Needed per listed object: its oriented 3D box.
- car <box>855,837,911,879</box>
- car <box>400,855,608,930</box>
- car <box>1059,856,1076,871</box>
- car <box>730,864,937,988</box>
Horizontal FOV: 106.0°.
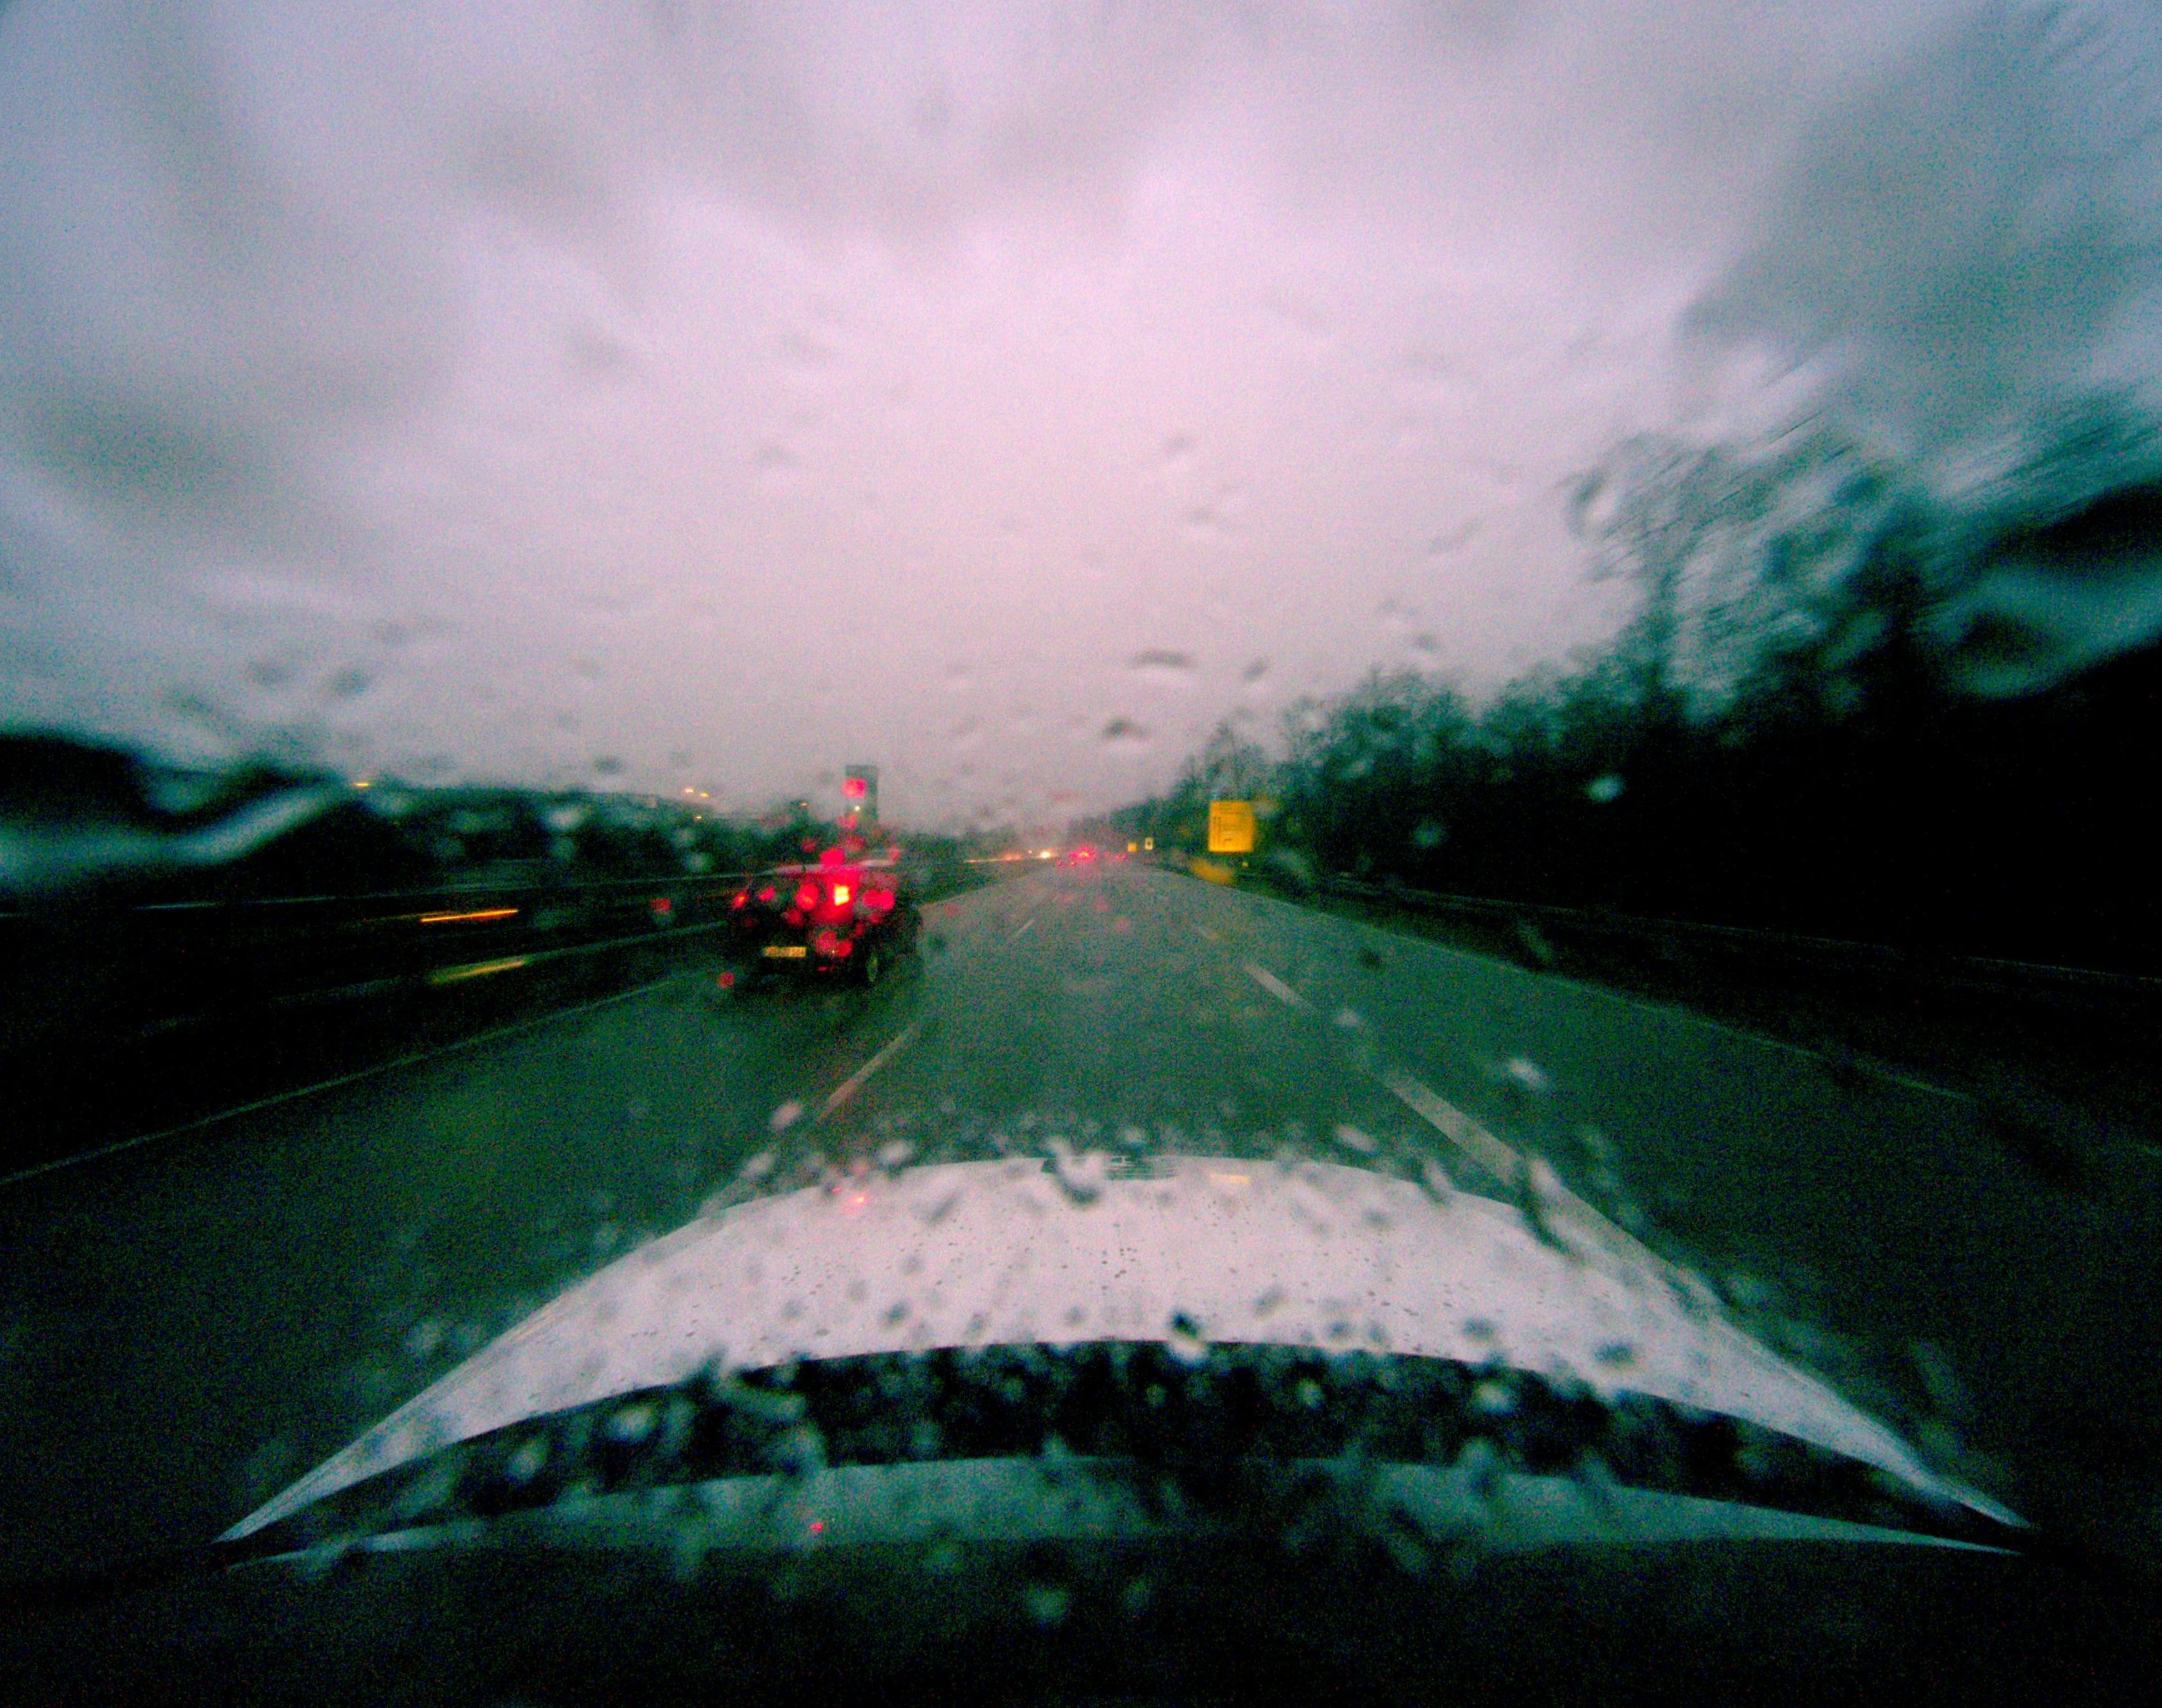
[{"bbox_3d":[-11.900,0.310,49.294,1.920,2.297,4.889,0,-3,2],"label":"car"},{"bbox_3d":[-12.837,0.796,18.485,1.730,1.508,4.002,0,0,2],"label":"car"},{"bbox_3d":[-1.255,0.883,76.174,1.411,1.317,3.084,1,0,1],"label":"car"},{"bbox_3d":[-3.227,0.864,11.463,1.620,1.392,4.000,1,0,1],"label":"car"}]
